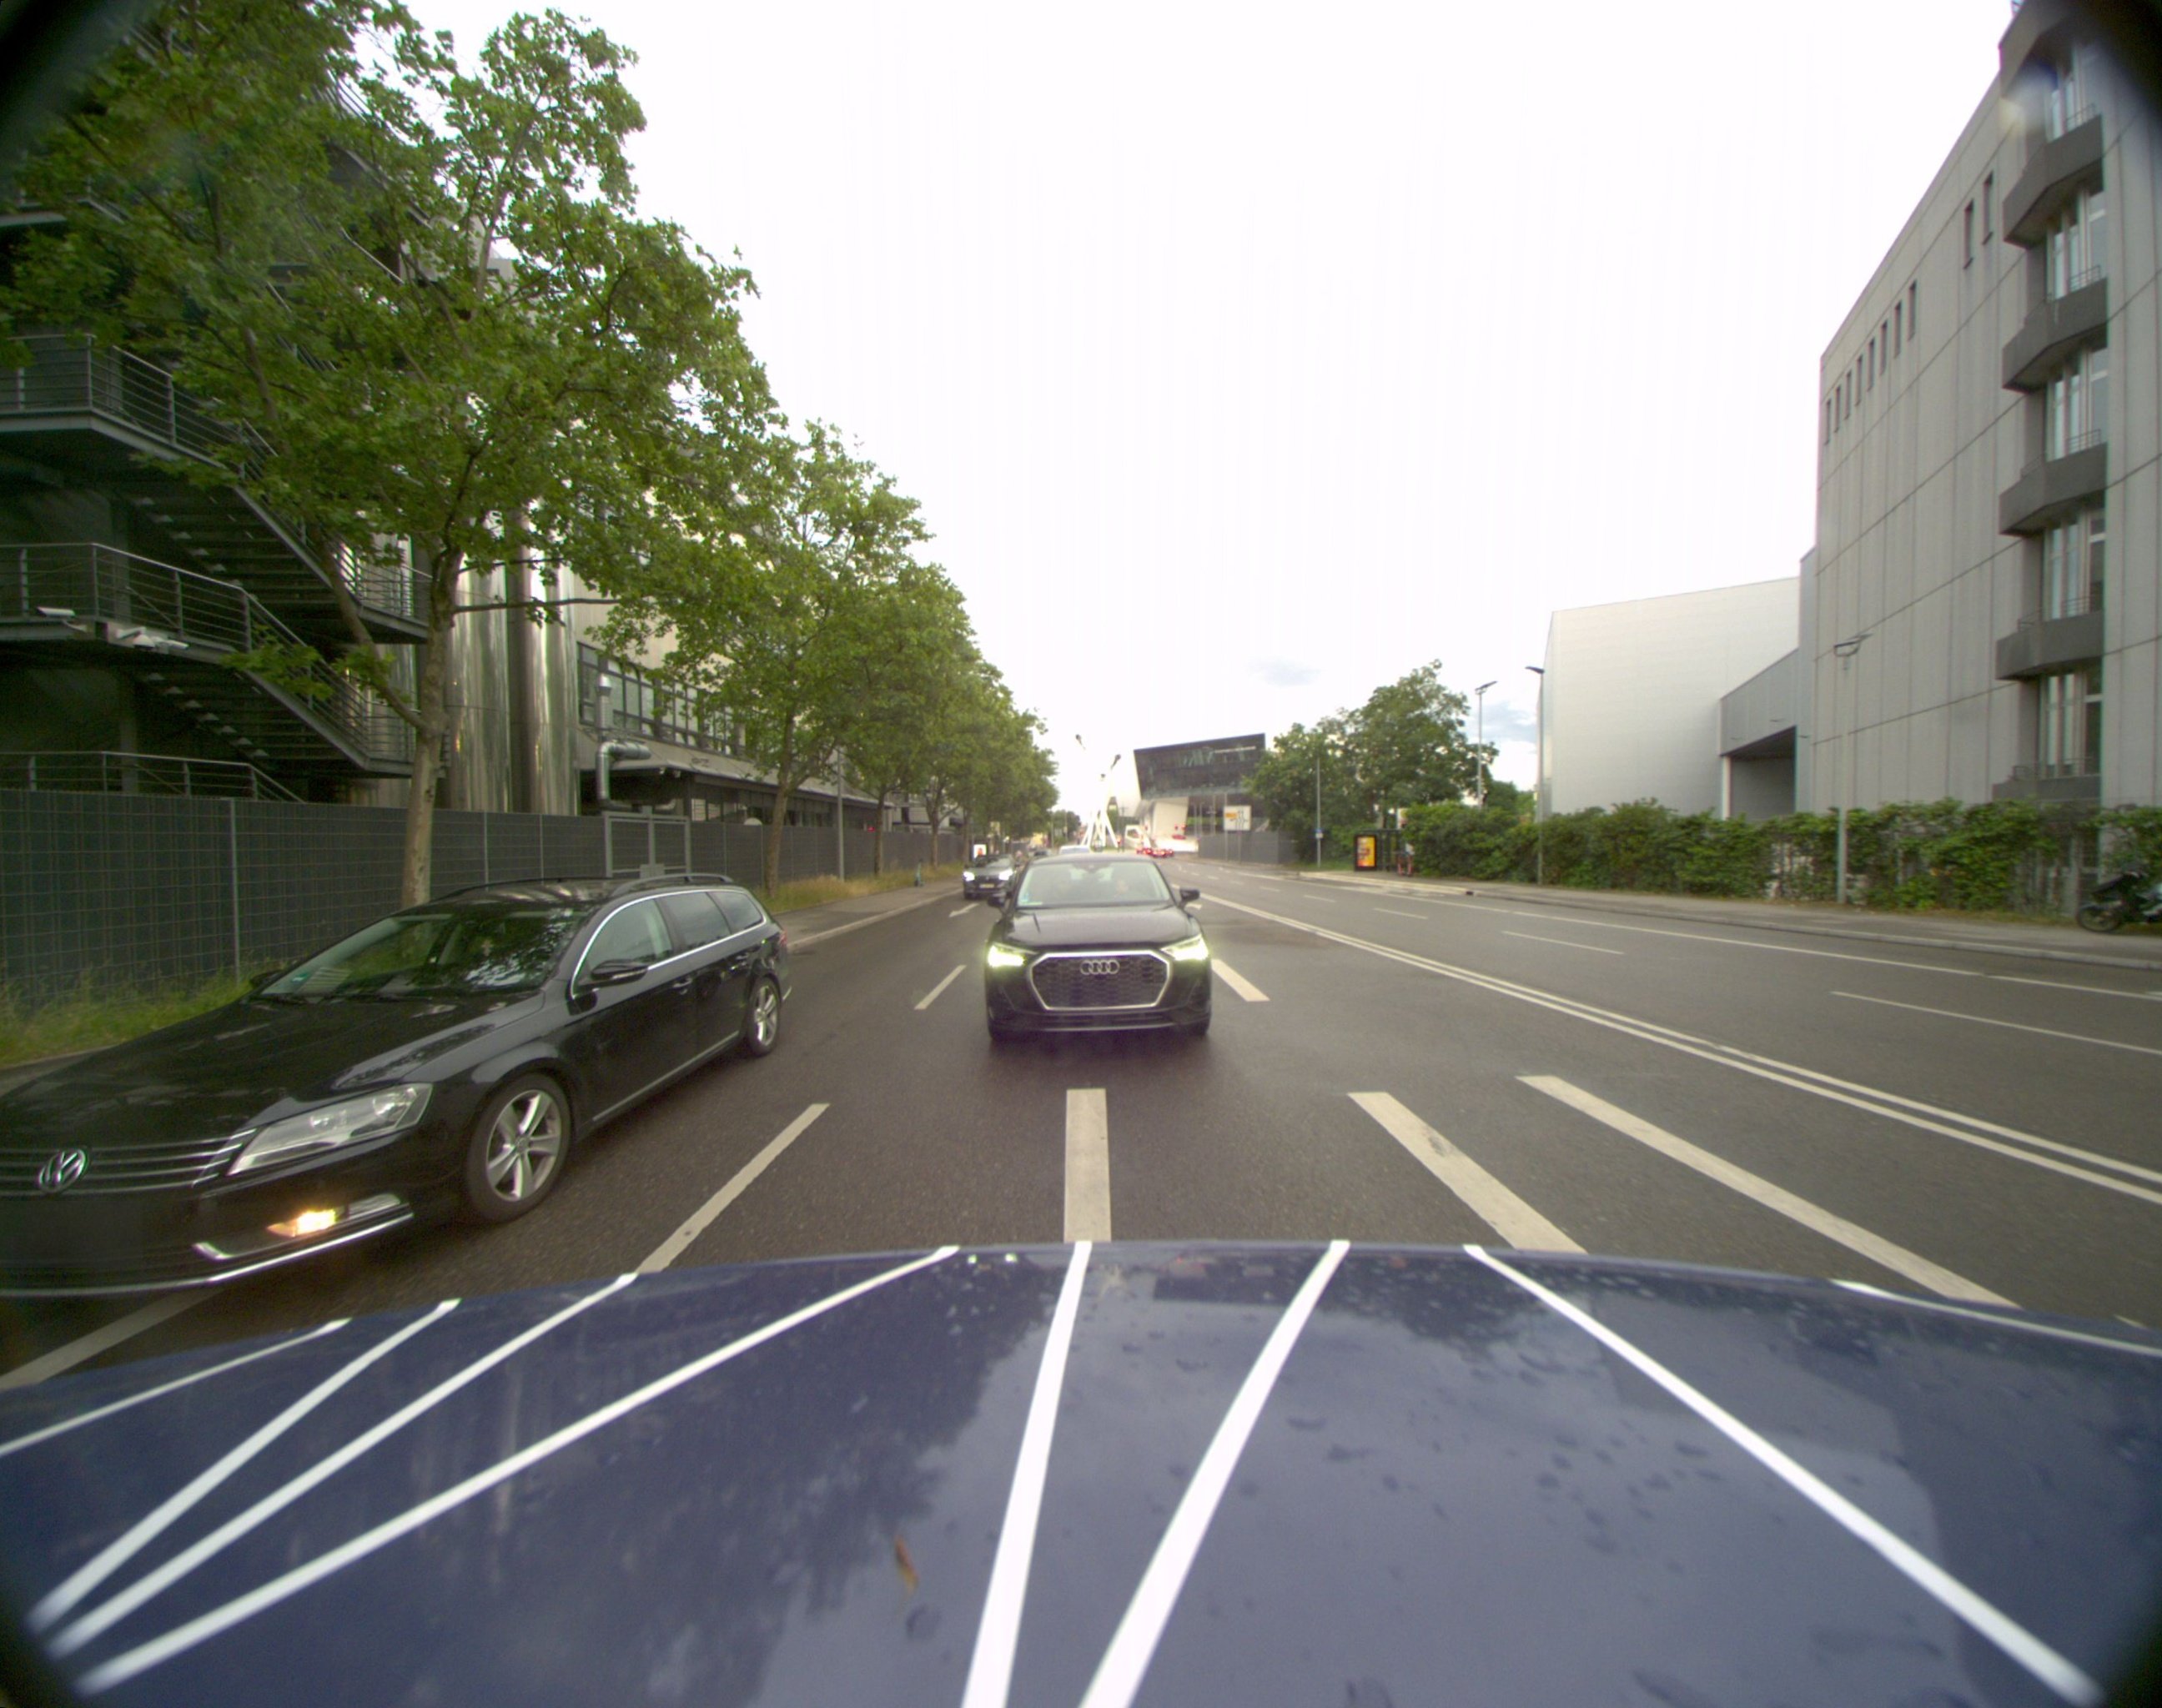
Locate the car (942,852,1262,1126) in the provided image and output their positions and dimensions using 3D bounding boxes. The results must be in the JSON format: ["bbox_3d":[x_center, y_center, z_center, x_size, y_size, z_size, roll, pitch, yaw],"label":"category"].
[{"bbox_3d":[0.077,0.836,7.382,1.951,1.610,5.275,-2,1,-1],"label":"car"}]

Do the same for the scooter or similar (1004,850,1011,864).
[{"bbox_3d":[-6.961,0.296,71.836,0.437,1.288,1.300,-1,1,3],"label":"scooter or similar"}]

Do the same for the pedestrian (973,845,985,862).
[{"bbox_3d":[-8.629,-0.010,64.112,0.933,1.408,0.698,-1,1,-1],"label":"pedestrian"}]

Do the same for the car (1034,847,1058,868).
[{"bbox_3d":[-3.008,0.245,65.730,1.951,1.767,4.490,0,1,-1],"label":"car"}]

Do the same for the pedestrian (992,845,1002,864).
[{"bbox_3d":[-7.486,0.061,67.998,0.778,1.700,0.729,-1,1,-1],"label":"pedestrian"}]

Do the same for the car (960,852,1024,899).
[{"bbox_3d":[-3.201,0.727,28.017,1.951,1.610,4.072,0,1,-1],"label":"car"}]

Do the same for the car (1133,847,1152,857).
[{"bbox_3d":[10.006,-0.304,122.944,2.255,1.469,3.884,0,1,18],"label":"car"}]

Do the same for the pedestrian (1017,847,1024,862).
[{"bbox_3d":[-6.937,0.046,86.970,0.723,1.610,0.833,1,2,-1],"label":"pedestrian"}]

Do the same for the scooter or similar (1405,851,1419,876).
[{"bbox_3d":[16.265,0.446,37.375,0.379,1.174,1.378,0,1,13],"label":"scooter or similar"}]

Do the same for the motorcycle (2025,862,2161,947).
[{"bbox_3d":[16.774,0.781,12.091,0.786,1.243,2.157,-1,1,0],"label":"motorcycle"}]

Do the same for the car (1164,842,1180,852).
[{"bbox_3d":[15.332,-1.116,127.650,1.861,1.641,3.792,0,1,19],"label":"car"}]

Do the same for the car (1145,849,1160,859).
[{"bbox_3d":[12.136,-0.031,129.191,1.878,1.641,3.856,0,1,16],"label":"car"}]

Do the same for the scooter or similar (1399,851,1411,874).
[{"bbox_3d":[16.508,0.426,38.728,0.389,1.174,1.251,0,1,13],"label":"scooter or similar"}]

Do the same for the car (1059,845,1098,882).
[{"bbox_3d":[-0.185,0.454,39.985,1.951,1.879,4.490,0,1,-1],"label":"car"}]

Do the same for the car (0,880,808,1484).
[{"bbox_3d":[-3.369,1.013,4.473,1.842,1.444,4.785,-2,1,-1],"label":"car"}]

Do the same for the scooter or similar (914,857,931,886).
[{"bbox_3d":[-6.961,0.761,33.313,0.329,1.262,1.109,0,1,9],"label":"scooter or similar"}]

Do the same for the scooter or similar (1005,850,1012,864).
[{"bbox_3d":[-7.061,0.272,73.962,0.437,1.288,1.300,-1,1,3],"label":"scooter or similar"}]

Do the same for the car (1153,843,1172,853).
[{"bbox_3d":[12.951,-0.934,121.083,2.267,1.469,4.052,0,1,18],"label":"car"}]
